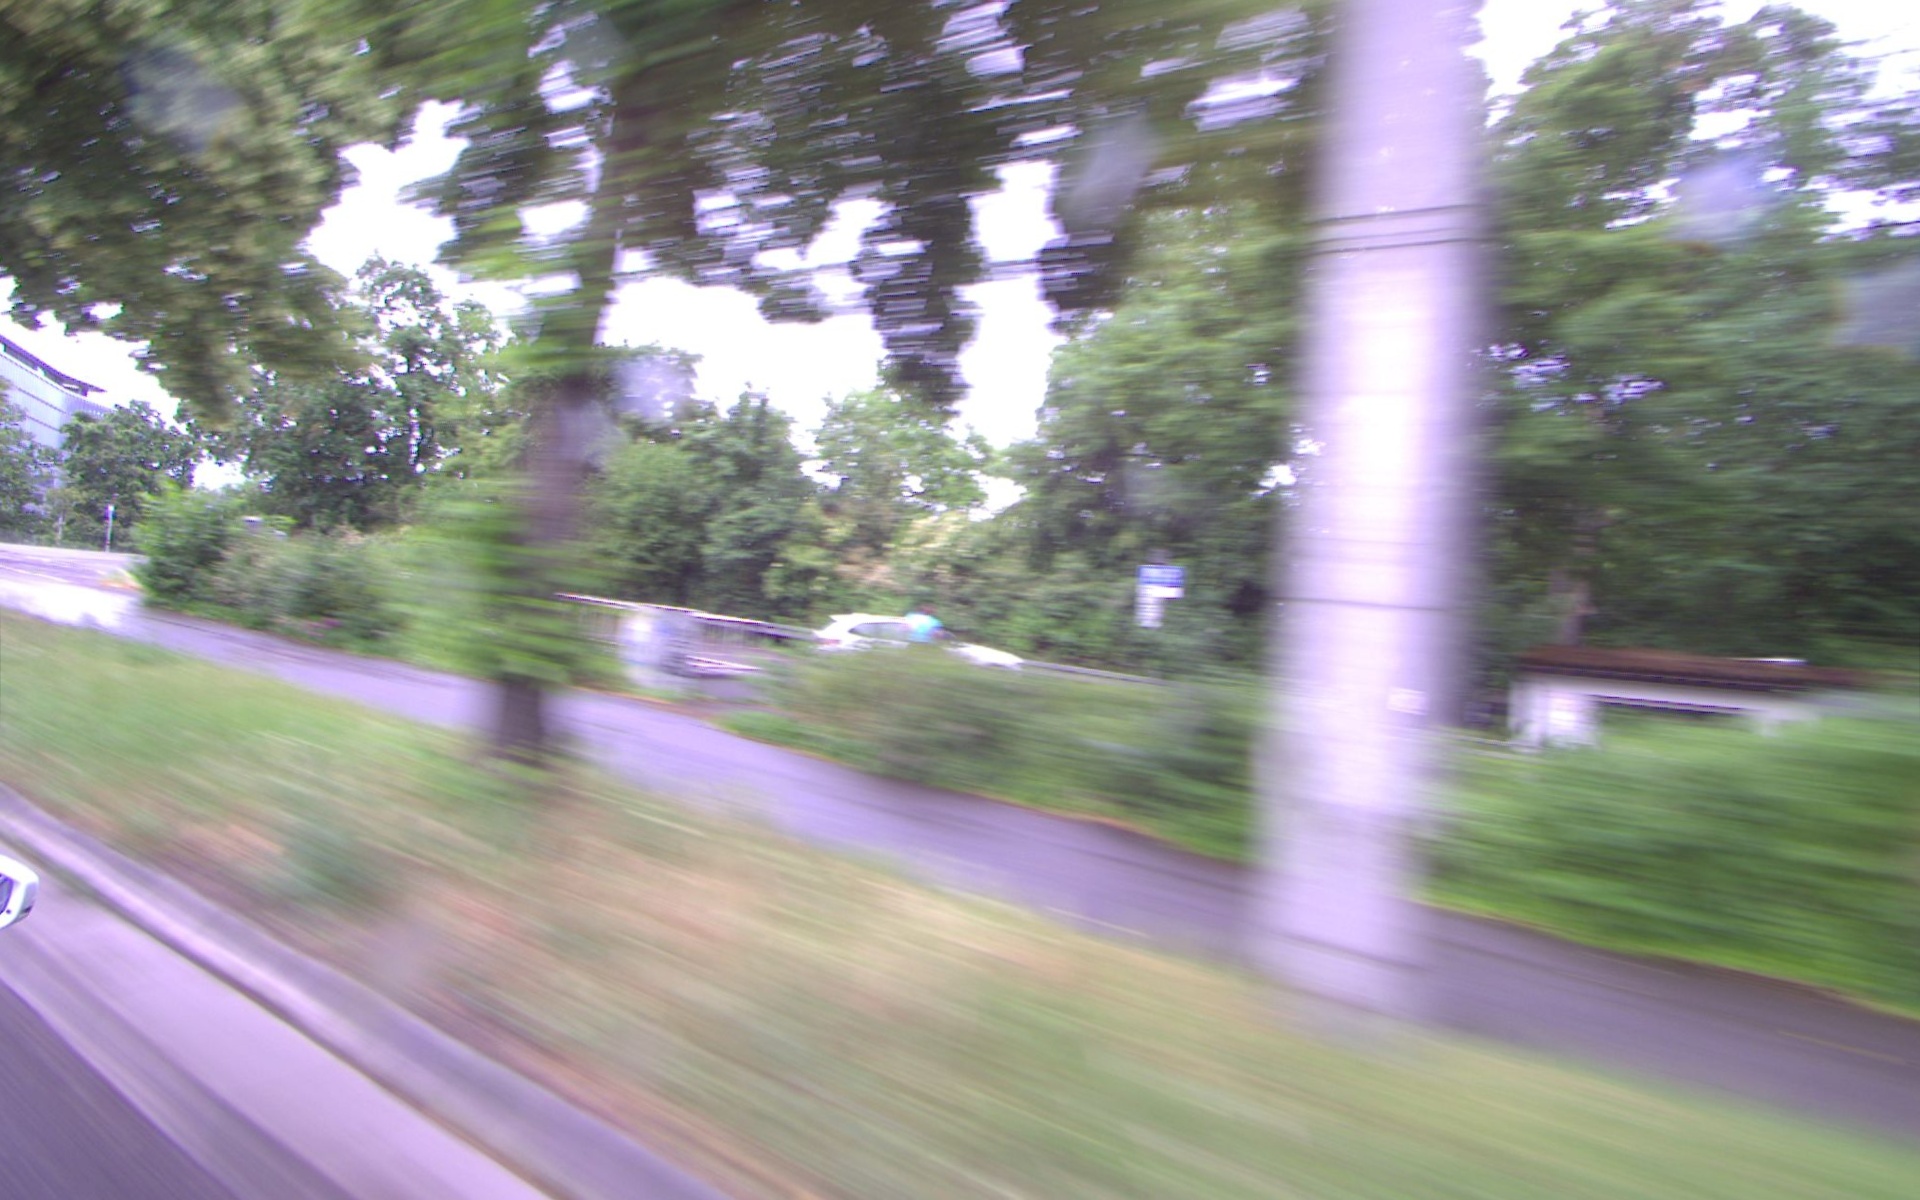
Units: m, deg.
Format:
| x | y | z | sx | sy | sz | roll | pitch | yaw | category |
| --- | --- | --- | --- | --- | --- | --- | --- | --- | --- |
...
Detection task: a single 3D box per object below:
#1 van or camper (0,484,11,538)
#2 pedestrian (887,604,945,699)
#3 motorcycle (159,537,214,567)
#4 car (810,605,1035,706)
| x | y | z | sx | sy | sz | roll | pitch | yaw | category |
| --- | --- | --- | --- | --- | --- | --- | --- | --- | --- |
| -36.070 | -3.347 | 34.783 | 2.011 | 2.430 | 5.385 | 10 | -5 | -14 | van or camper |
| -0.907 | 1.030 | 20.360 | 0.927 | 1.794 | 0.895 | 5 | 1 | -9 | pedestrian |
| -37.698 | -2.315 | 49.030 | 1.993 | 1.226 | 0.473 | 4 | -5 | -18 | motorcycle |
| -0.885 | 1.181 | 21.921 | 4.571 | 1.598 | 1.998 | 7 | -1 | -9 | car |
